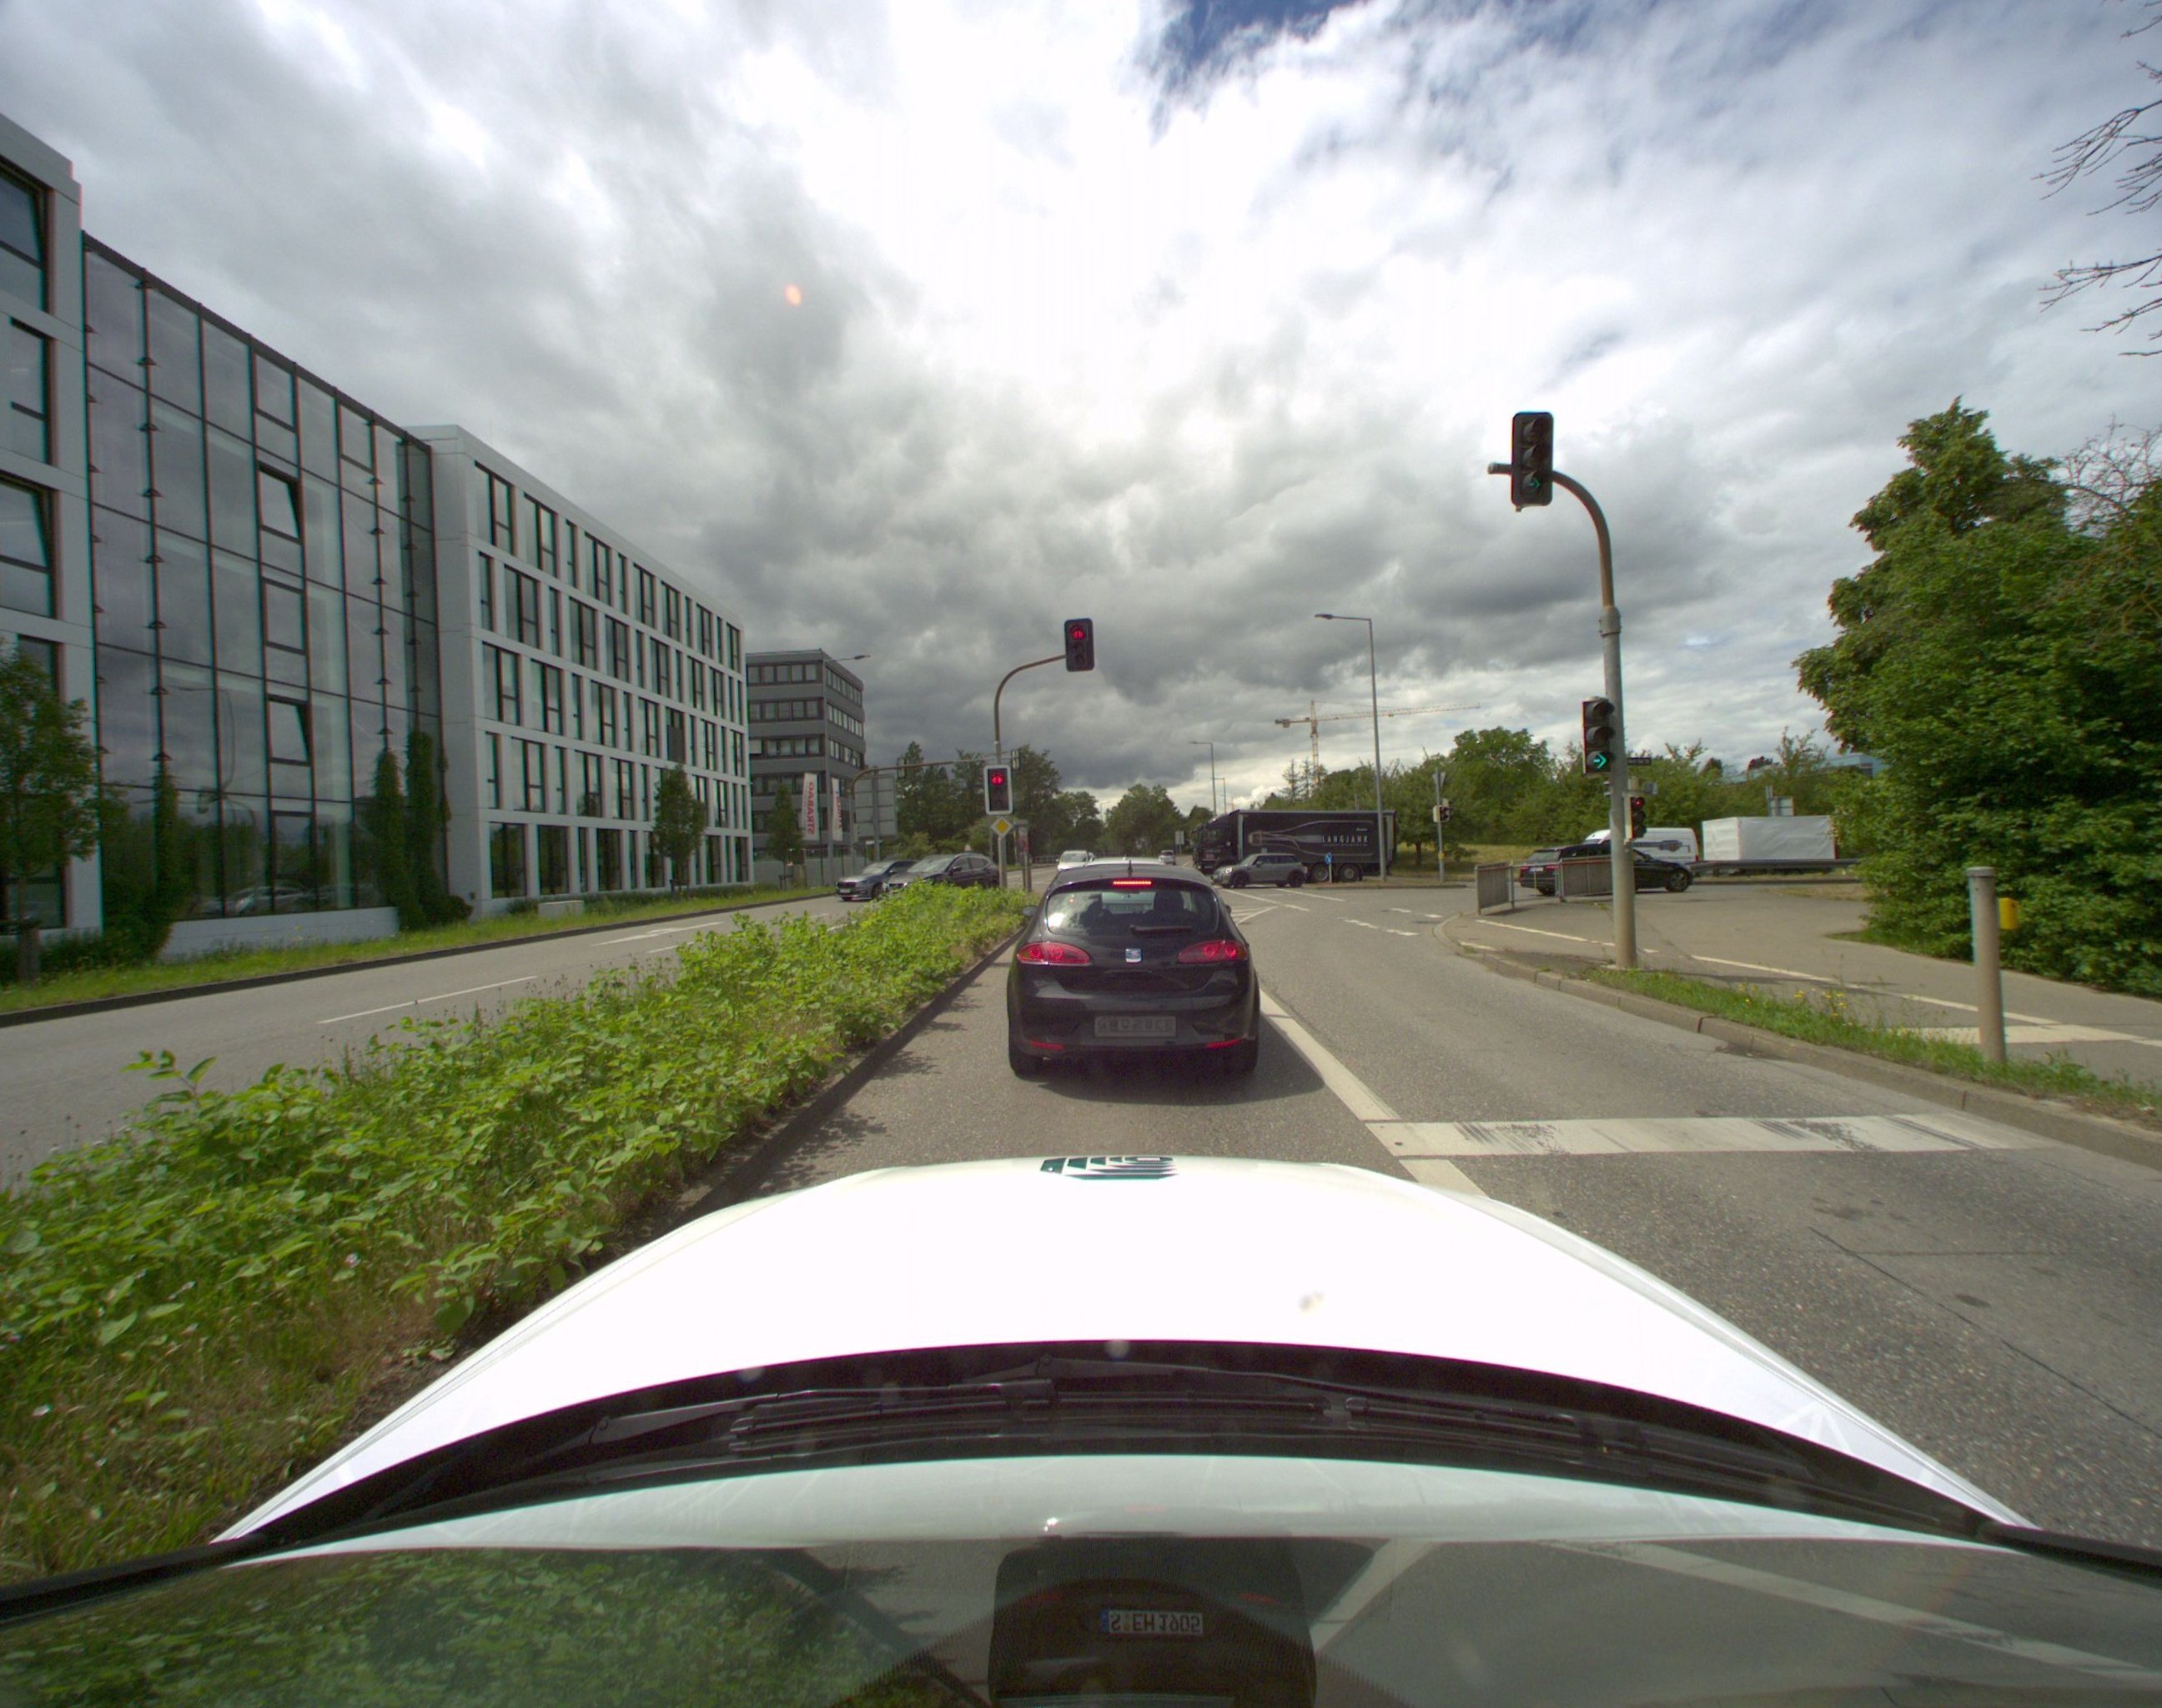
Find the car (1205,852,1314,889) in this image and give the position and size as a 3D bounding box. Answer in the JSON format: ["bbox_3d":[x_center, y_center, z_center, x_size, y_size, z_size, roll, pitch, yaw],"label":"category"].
[{"bbox_3d":[7.462,0.669,34.207,3.990,1.420,1.992,-1,0,-12],"label":"car"}]

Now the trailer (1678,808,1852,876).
[{"bbox_3d":[31.110,-0.515,37.235,5.736,2.806,2.251,-2,0,6],"label":"trailer"}]

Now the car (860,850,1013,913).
[{"bbox_3d":[-4.155,0.750,24.090,1.974,1.615,4.346,-2,0,33],"label":"car"}]

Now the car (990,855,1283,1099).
[{"bbox_3d":[0.394,0.753,6.770,1.766,1.452,3.583,-1,0,2],"label":"car"}]

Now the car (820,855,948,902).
[{"bbox_3d":[-7.163,0.868,30.022,1.974,1.525,4.346,-2,0,33],"label":"car"}]

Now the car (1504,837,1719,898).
[{"bbox_3d":[15.295,0.379,23.604,5.177,1.440,1.875,-3,0,-6],"label":"car"}]

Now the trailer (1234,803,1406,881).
[{"bbox_3d":[11.327,-0.564,38.949,7.561,3.458,2.000,-1,0,-1],"label":"trailer"}]

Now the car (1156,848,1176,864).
[{"bbox_3d":[9.101,0.205,87.045,1.984,1.530,4.005,-2,0,5],"label":"car"}]

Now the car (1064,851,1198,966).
[{"bbox_3d":[0.675,0.748,12.960,1.768,1.491,3.581,-3,0,0],"label":"car"}]

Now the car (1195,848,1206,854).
[{"bbox_3d":[26.638,-0.651,181.388,1.979,1.352,4.017,-1,0,15],"label":"car"}]

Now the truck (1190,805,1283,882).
[{"bbox_3d":[7.365,-0.492,38.832,3.975,3.469,2.000,-1,0,-1],"label":"truck"}]

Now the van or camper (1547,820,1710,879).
[{"bbox_3d":[25.321,-0.189,37.870,5.885,2.532,2.254,-1,0,6],"label":"van or camper"}]

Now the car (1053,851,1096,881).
[{"bbox_3d":[-0.321,0.641,46.052,1.984,1.596,4.006,-2,0,5],"label":"car"}]
